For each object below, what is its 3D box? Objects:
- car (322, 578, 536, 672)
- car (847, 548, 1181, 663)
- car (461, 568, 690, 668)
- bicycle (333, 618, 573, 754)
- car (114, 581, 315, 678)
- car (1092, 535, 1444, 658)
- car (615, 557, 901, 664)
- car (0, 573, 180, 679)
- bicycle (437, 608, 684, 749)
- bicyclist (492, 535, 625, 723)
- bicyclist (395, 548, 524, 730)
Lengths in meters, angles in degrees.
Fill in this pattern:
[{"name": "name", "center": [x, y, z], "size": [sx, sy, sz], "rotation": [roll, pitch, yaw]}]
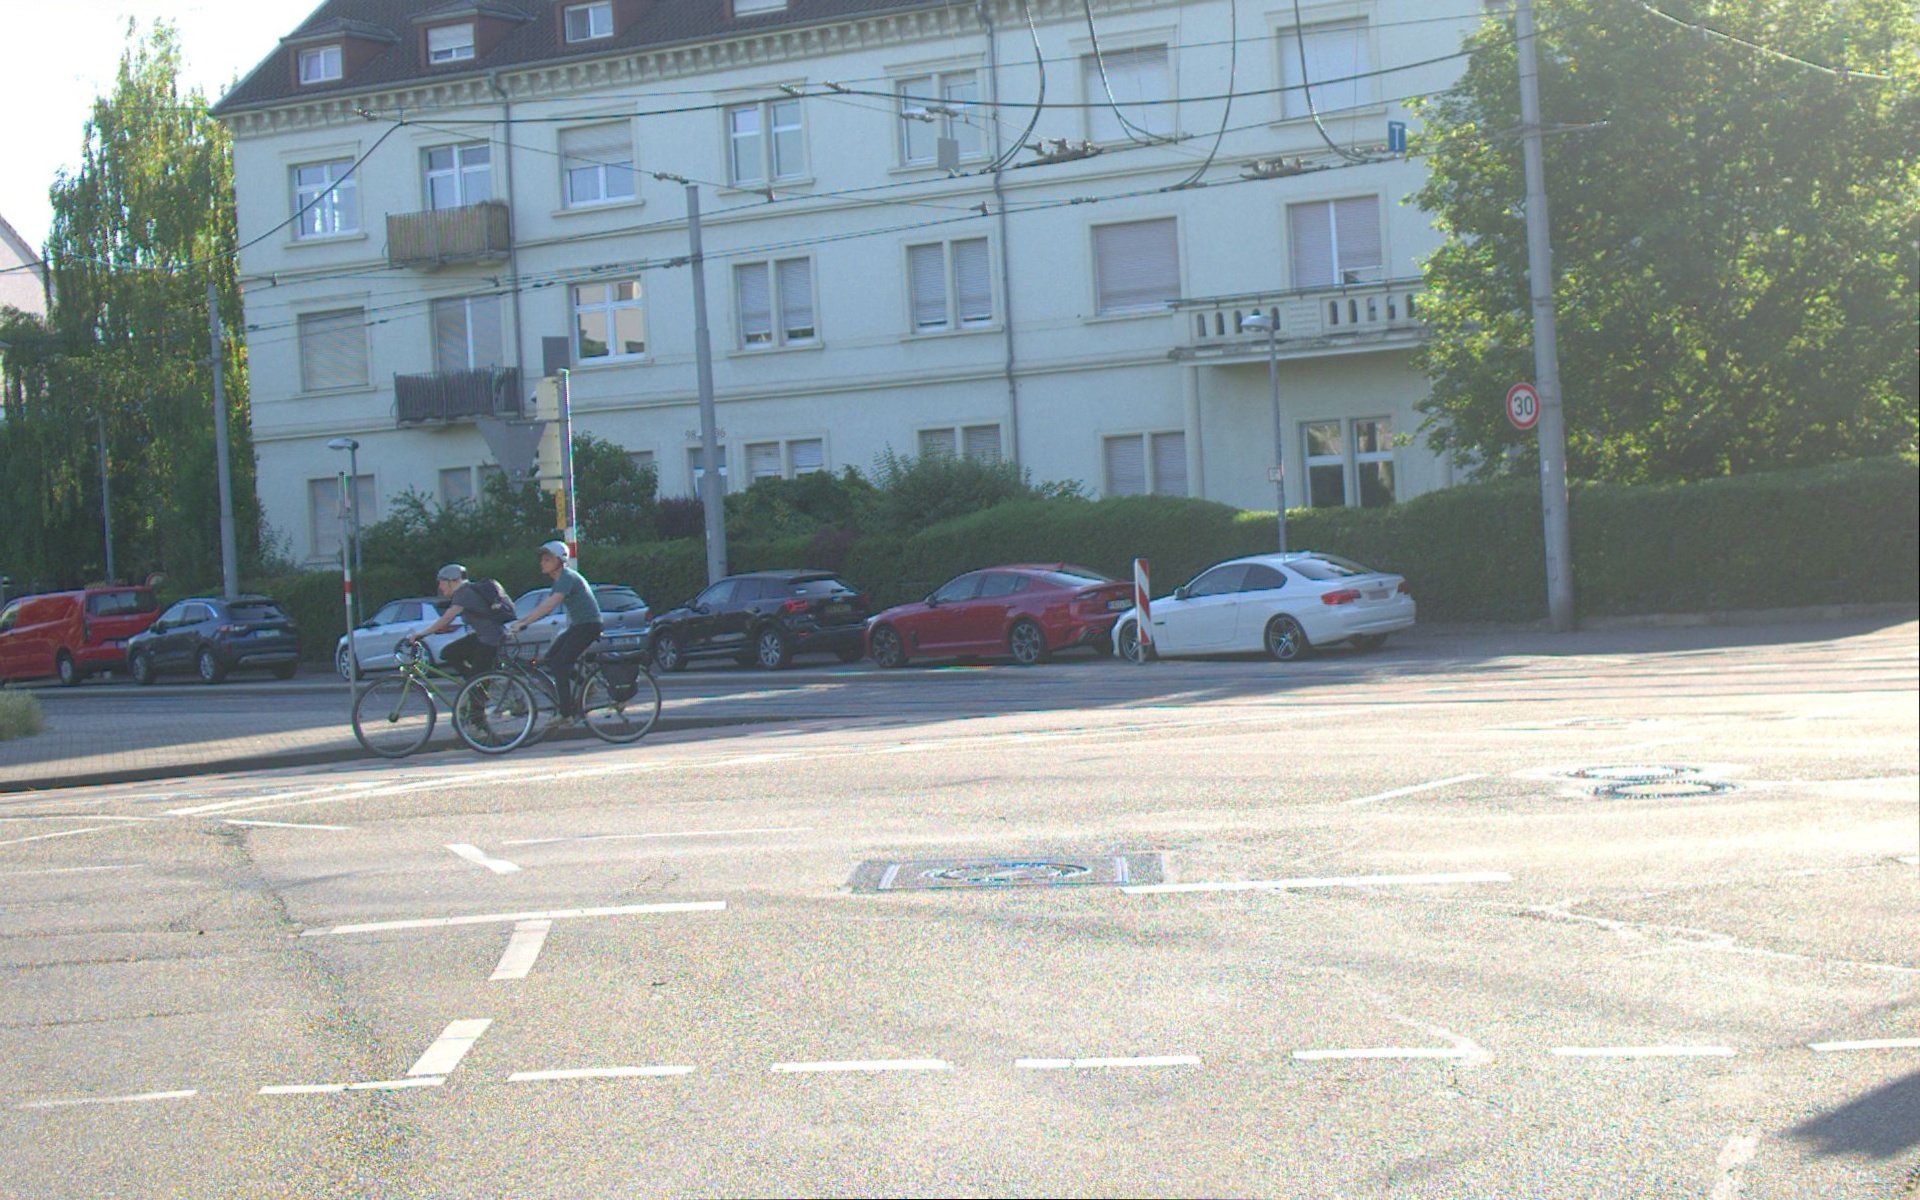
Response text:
[{"name": "car", "center": [-9.510, 0.458, 61.381], "size": [1.840, 1.442, 3.957], "rotation": [-7, 3, -41]}, {"name": "car", "center": [0.748, 0.096, 50.128], "size": [4.702, 1.371, 1.982], "rotation": [-2, 3, 44]}, {"name": "car", "center": [-6.497, 0.315, 57.886], "size": [1.982, 1.442, 3.717], "rotation": [-7, 3, -41]}, {"name": "bicycle", "center": [-4.455, 0.748, 30.258], "size": [2.012, 1.065, 0.664], "rotation": [-3, 1, -8]}, {"name": "car", "center": [-14.612, 0.589, 67.218], "size": [1.840, 1.662, 4.368], "rotation": [-7, 3, -41]}, {"name": "car", "center": [4.087, -0.030, 46.132], "size": [1.926, 1.371, 4.494], "rotation": [-7, 3, -42]}, {"name": "car", "center": [-3.263, 0.182, 54.639], "size": [1.982, 1.442, 4.703], "rotation": [-7, 3, -41]}, {"name": "car", "center": [-18.647, 0.570, 72.259], "size": [2.051, 1.955, 5.148], "rotation": [-7, 3, -41]}, {"name": "bicycle", "center": [-3.405, 0.660, 29.317], "size": [2.012, 1.065, 0.664], "rotation": [-3, 1, -7]}, {"name": "bicyclist", "center": [-3.432, 0.241, 29.328], "size": [1.034, 1.526, 0.698], "rotation": [-3, 1, -7]}, {"name": "bicyclist", "center": [-4.401, 0.335, 30.262], "size": [1.034, 1.526, 0.661], "rotation": [-3, 1, -8]}]
